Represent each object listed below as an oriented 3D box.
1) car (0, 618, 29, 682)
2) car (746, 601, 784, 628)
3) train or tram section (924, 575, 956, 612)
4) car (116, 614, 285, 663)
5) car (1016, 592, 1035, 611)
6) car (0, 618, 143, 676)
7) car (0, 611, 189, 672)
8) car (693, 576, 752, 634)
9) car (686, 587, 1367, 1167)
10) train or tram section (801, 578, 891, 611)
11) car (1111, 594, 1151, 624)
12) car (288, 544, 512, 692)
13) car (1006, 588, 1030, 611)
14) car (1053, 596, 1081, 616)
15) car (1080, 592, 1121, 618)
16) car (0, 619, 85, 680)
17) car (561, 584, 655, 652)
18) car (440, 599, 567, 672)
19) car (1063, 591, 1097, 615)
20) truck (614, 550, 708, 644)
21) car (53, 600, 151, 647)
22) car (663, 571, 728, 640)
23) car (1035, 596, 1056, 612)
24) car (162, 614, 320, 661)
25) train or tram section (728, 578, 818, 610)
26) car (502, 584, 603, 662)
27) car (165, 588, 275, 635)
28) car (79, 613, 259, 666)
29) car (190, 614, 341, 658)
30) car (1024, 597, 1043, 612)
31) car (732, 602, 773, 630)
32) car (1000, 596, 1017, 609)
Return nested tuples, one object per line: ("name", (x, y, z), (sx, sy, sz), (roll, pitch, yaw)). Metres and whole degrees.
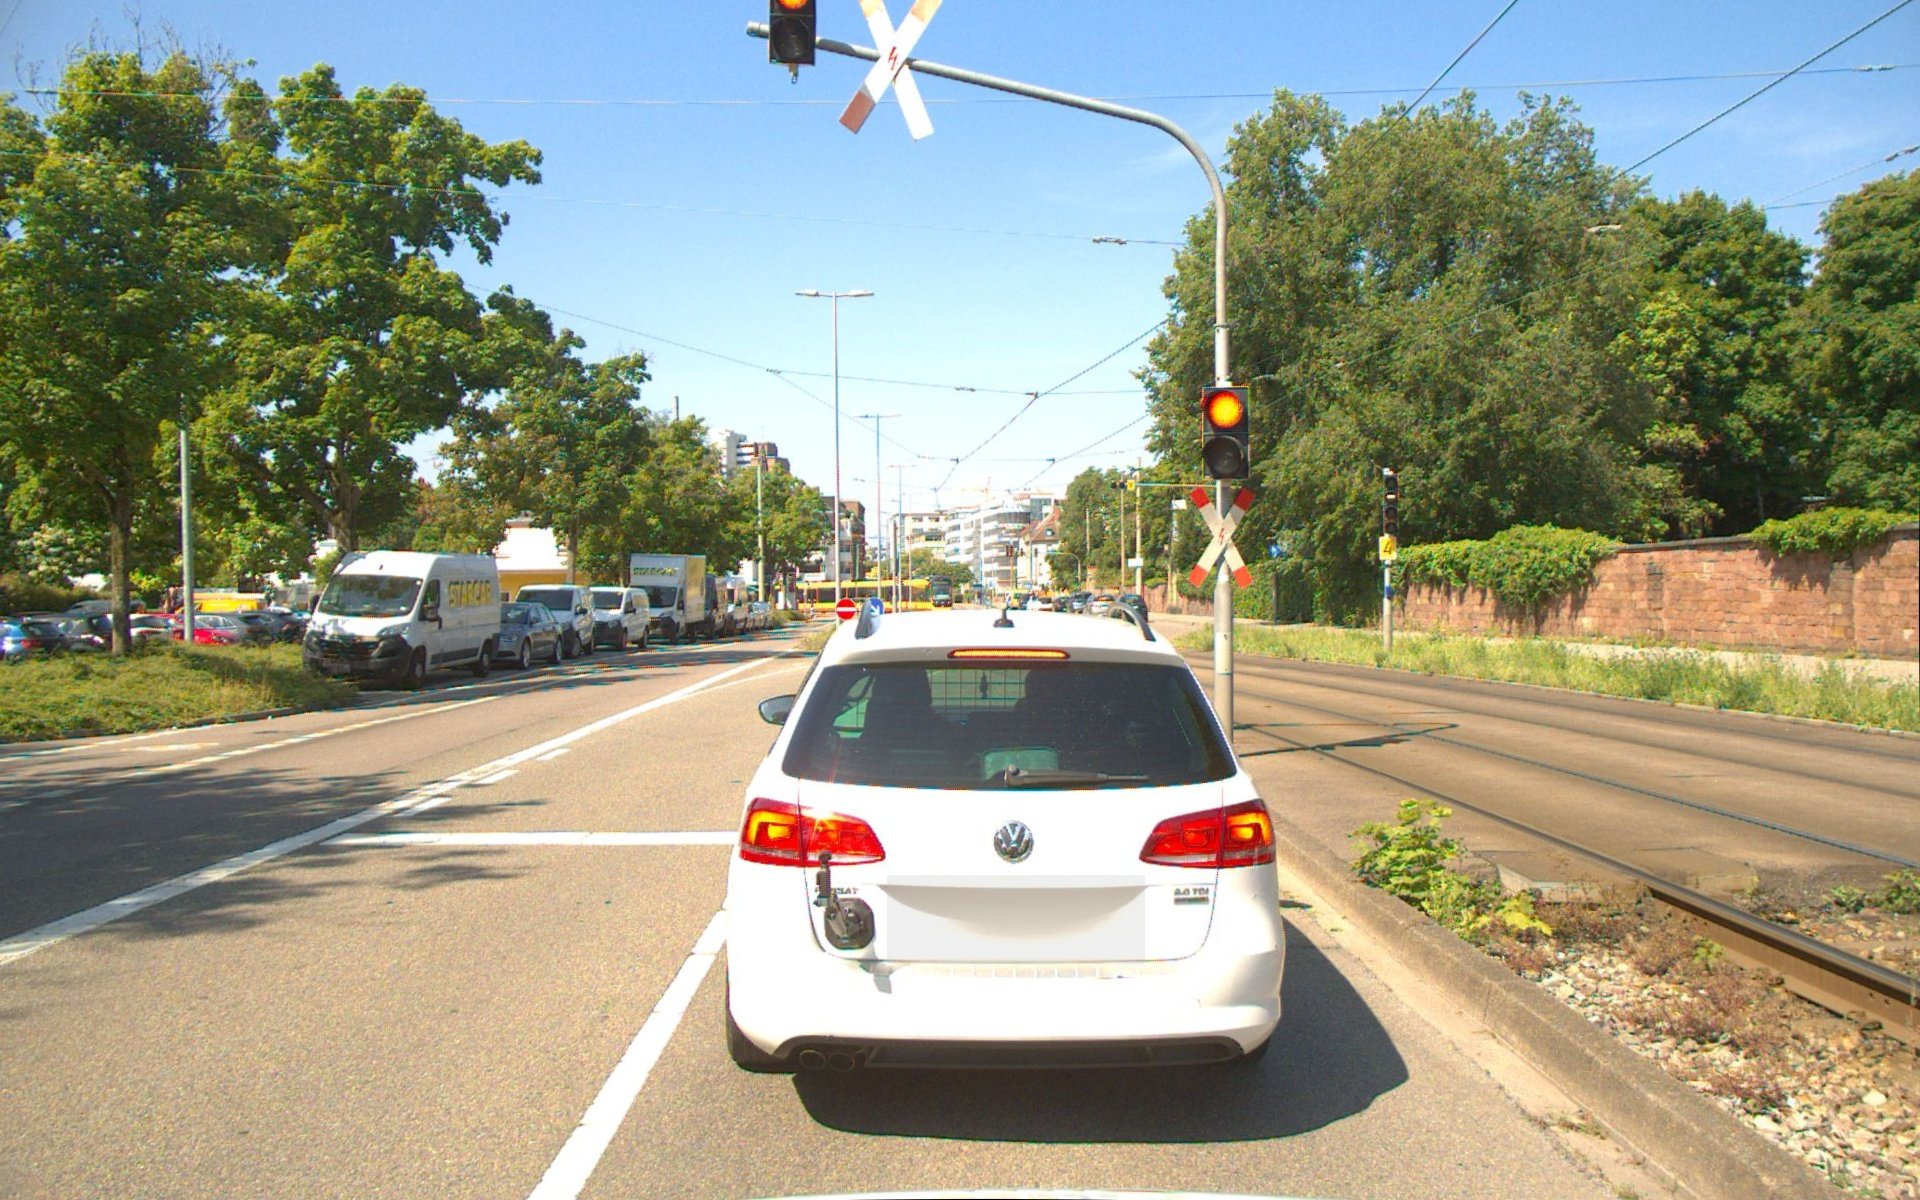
("car", (-20.965, 1.048, 32.844), (3.907, 1.246, 1.770), (-1, 0, -3))
("car", (-11.343, 0.828, 96.413), (1.744, 1.458, 4.037), (-1, 0, -1))
("train or tram section", (-1.959, -0.526, 156.233), (2.256, 3.309, 11.263), (1, -1, -4))
("car", (-21.354, 1.074, 46.575), (3.904, 1.246, 1.772), (-1, 0, 2))
("car", (6.770, 0.163, 171.378), (1.657, 1.844, 3.453), (1, -1, -1))
("car", (-21.619, 1.114, 38.878), (3.904, 1.246, 1.772), (-1, 0, 2))
("car", (-21.751, 1.026, 41.557), (3.904, 1.373, 1.772), (-1, 0, 2))
("car", (-10.838, 0.208, 75.799), (1.806, 2.538, 5.856), (-1, 0, 0))
("car", (0.122, 0.708, 6.215), (1.732, 1.471, 3.912), (1, 0, -2))
("train or tram section", (-11.976, -0.585, 172.895), (10.600, 3.310, 2.298), (1, -1, 38))
("car", (8.592, 0.445, 83.170), (1.709, 1.412, 3.914), (1, 0, 2))
("car", (-10.742, 0.293, 32.374), (2.016, 2.544, 6.309), (2, 0, 2))
("car", (6.679, -0.004, 191.645), (2.413, 2.542, 5.908), (1, -1, -1))
("car", (8.021, 0.429, 124.550), (1.711, 1.432, 3.911), (1, 0, -2))
("car", (8.182, 0.276, 96.411), (1.824, 1.441, 4.323), (1, 0, -2))
("car", (-21.289, 1.082, 35.657), (3.904, 1.246, 1.772), (-1, 0, 2))
("car", (-10.944, 0.522, 51.772), (1.806, 1.995, 5.133), (-1, 0, 0))
("car", (-10.560, 0.777, 38.543), (1.806, 1.543, 4.196), (-1, 0, -1))
("car", (8.019, 0.187, 110.943), (1.824, 1.539, 3.911), (1, 0, -2))
("truck", (-10.782, -0.127, 60.184), (2.309, 3.177, 6.889), (-1, 0, -2))
("car", (-36.983, 0.991, 71.355), (3.354, 1.909, 1.552), (-1, 0, -3))
("car", (-10.818, 0.209, 67.945), (1.806, 2.715, 5.003), (-1, 0, 0))
("car", (7.401, 0.341, 143.617), (1.549, 1.370, 3.453), (1, -1, -1))
("car", (-21.342, 1.103, 49.171), (3.904, 1.246, 1.772), (-1, 0, 2))
("train or tram section", (-20.275, -0.698, 179.112), (10.581, 3.310, 2.302), (1, -1, 33))
("car", (-11.049, 0.582, 45.141), (1.807, 1.971, 5.189), (-1, 0, -5))
("car", (-34.168, 0.543, 76.491), (4.175, 2.049, 1.997), (1, -1, -7))
("car", (-21.000, 1.037, 43.986), (3.904, 1.286, 1.772), (-1, 0, 2))
("car", (-21.574, 1.114, 51.491), (3.904, 1.246, 1.772), (-1, 0, 2))
("car", (7.024, 0.462, 158.809), (1.549, 1.370, 3.453), (1, -1, -1))
("car", (-11.353, 0.867, 90.758), (1.806, 1.458, 4.037), (-1, 0, -1))
("car", (6.051, 0.330, 205.686), (1.953, 1.624, 3.999), (1, -1, 0))
